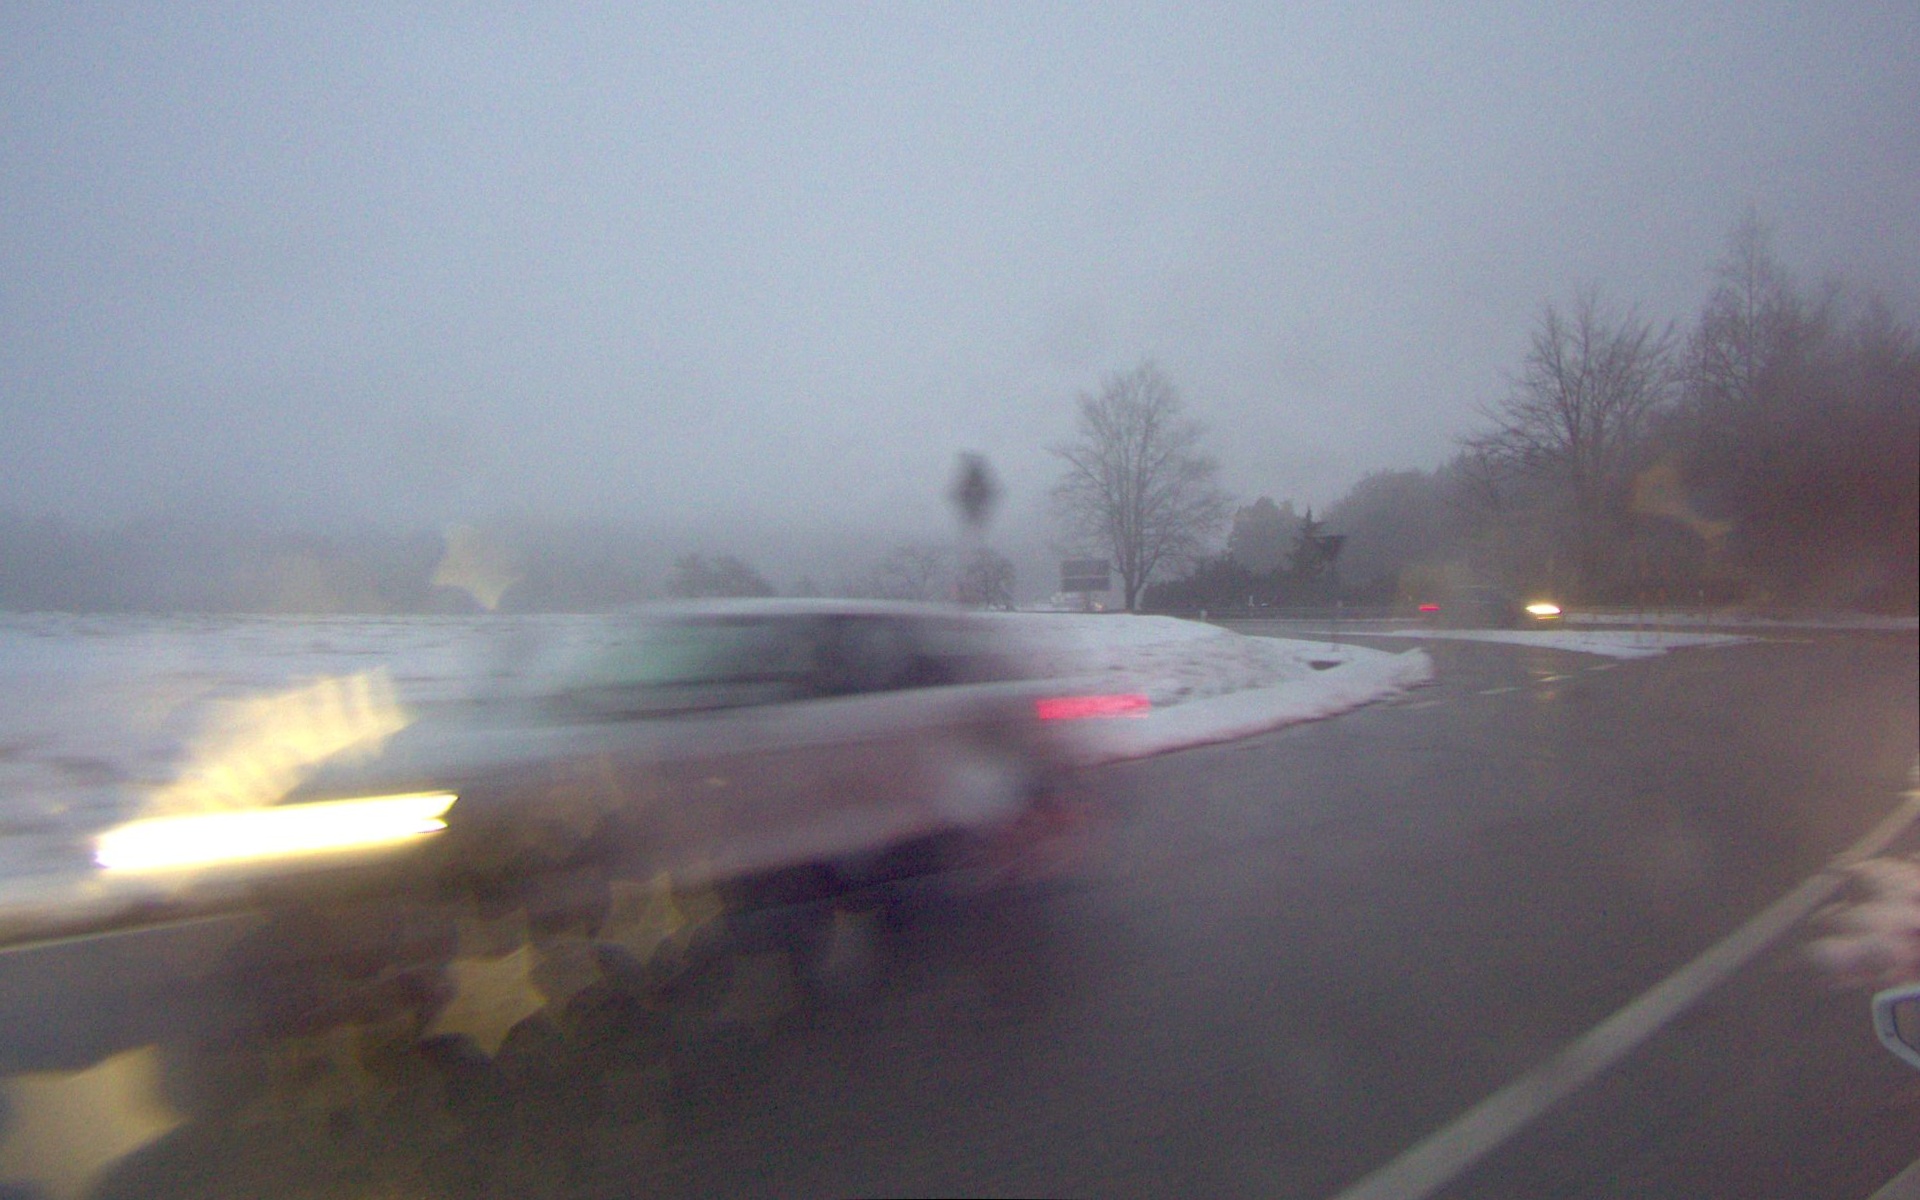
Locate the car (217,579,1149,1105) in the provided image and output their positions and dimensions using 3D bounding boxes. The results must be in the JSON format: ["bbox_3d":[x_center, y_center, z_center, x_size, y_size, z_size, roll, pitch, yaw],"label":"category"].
[{"bbox_3d":[-1.072,0.709,4.809,3.969,1.506,1.728,0,-1,-38],"label":"car"}]

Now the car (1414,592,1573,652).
[{"bbox_3d":[19.916,0.775,37.697,1.672,1.971,4.959,0,2,-41],"label":"car"}]
